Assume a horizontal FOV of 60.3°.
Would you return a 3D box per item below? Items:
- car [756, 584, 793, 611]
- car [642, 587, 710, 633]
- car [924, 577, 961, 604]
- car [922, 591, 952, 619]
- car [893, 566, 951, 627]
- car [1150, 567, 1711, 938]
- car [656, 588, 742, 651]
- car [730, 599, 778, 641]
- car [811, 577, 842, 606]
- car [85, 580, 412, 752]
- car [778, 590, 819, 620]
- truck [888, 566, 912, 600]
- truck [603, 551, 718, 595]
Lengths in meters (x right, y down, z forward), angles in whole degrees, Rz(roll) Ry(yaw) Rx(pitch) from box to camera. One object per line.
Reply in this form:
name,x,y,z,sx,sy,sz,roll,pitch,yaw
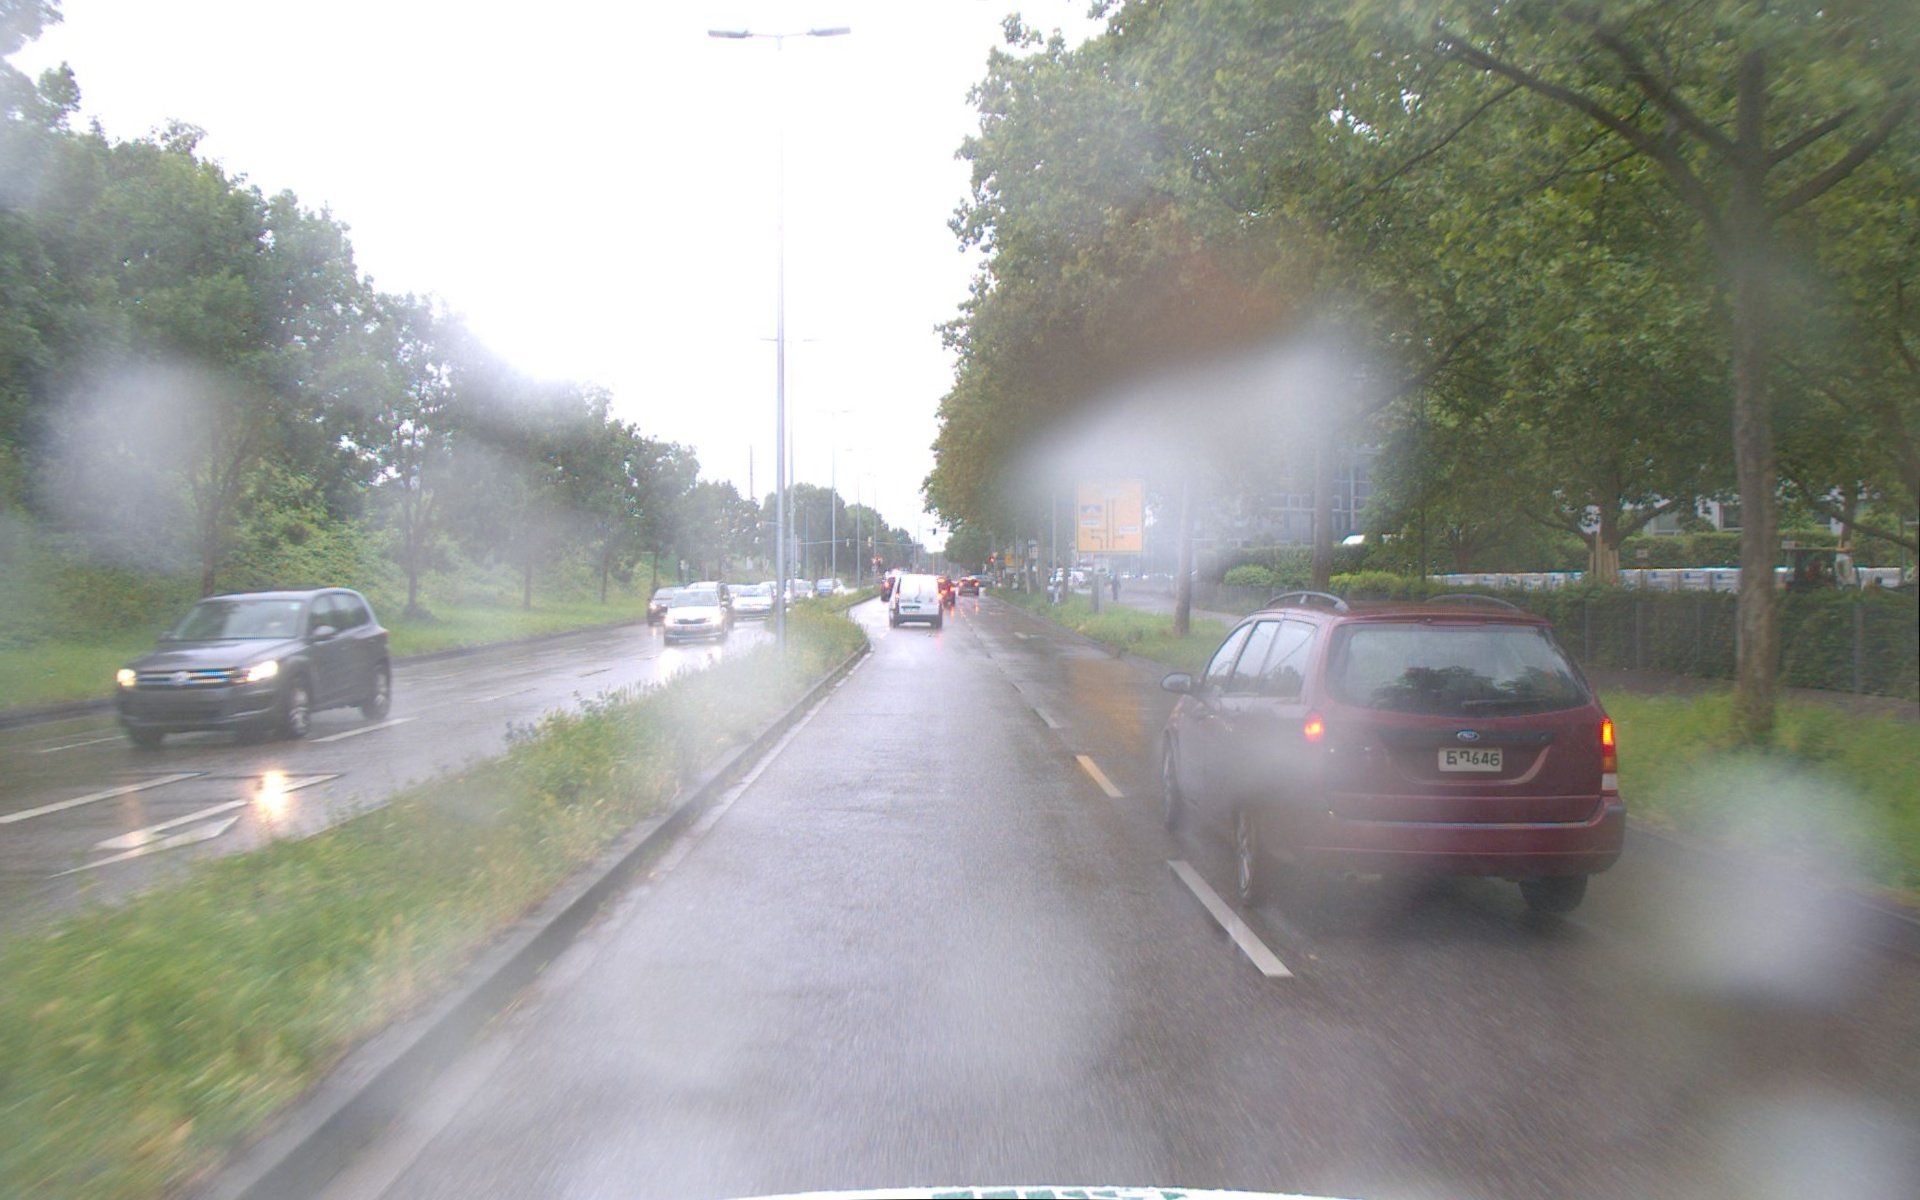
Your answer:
car,-12.049,-0.161,107.665,1.870,1.601,4.708,-3,1,-1
car,-11.530,0.369,67.319,1.953,1.717,4.708,-2,1,-1
car,-1.039,-0.520,93.825,1.953,1.477,3.998,1,0,-2
car,-1.414,0.276,100.182,1.674,1.577,3.999,0,1,-2
car,-1.377,-0.087,58.649,1.953,2.049,3.998,1,-1,-2
car,2.253,0.647,9.124,1.802,1.563,4.110,1,0,-2
car,-7.308,0.520,46.610,1.860,1.641,4.110,-1,0,-2
car,-8.724,0.810,70.305,1.872,1.601,4.703,-2,1,-6
car,-9.467,-0.624,117.817,1.787,1.601,4.361,4,4,-1
car,-7.861,0.655,18.757,1.859,1.641,4.111,-3,0,0
car,-9.364,0.258,96.225,1.870,1.601,4.708,-3,1,-1
truck,-4.456,-1.247,122.037,1.721,2.509,3.998,1,0,-2
truck,-26.587,-2.346,147.078,10.036,3.512,2.622,1,-1,-38
